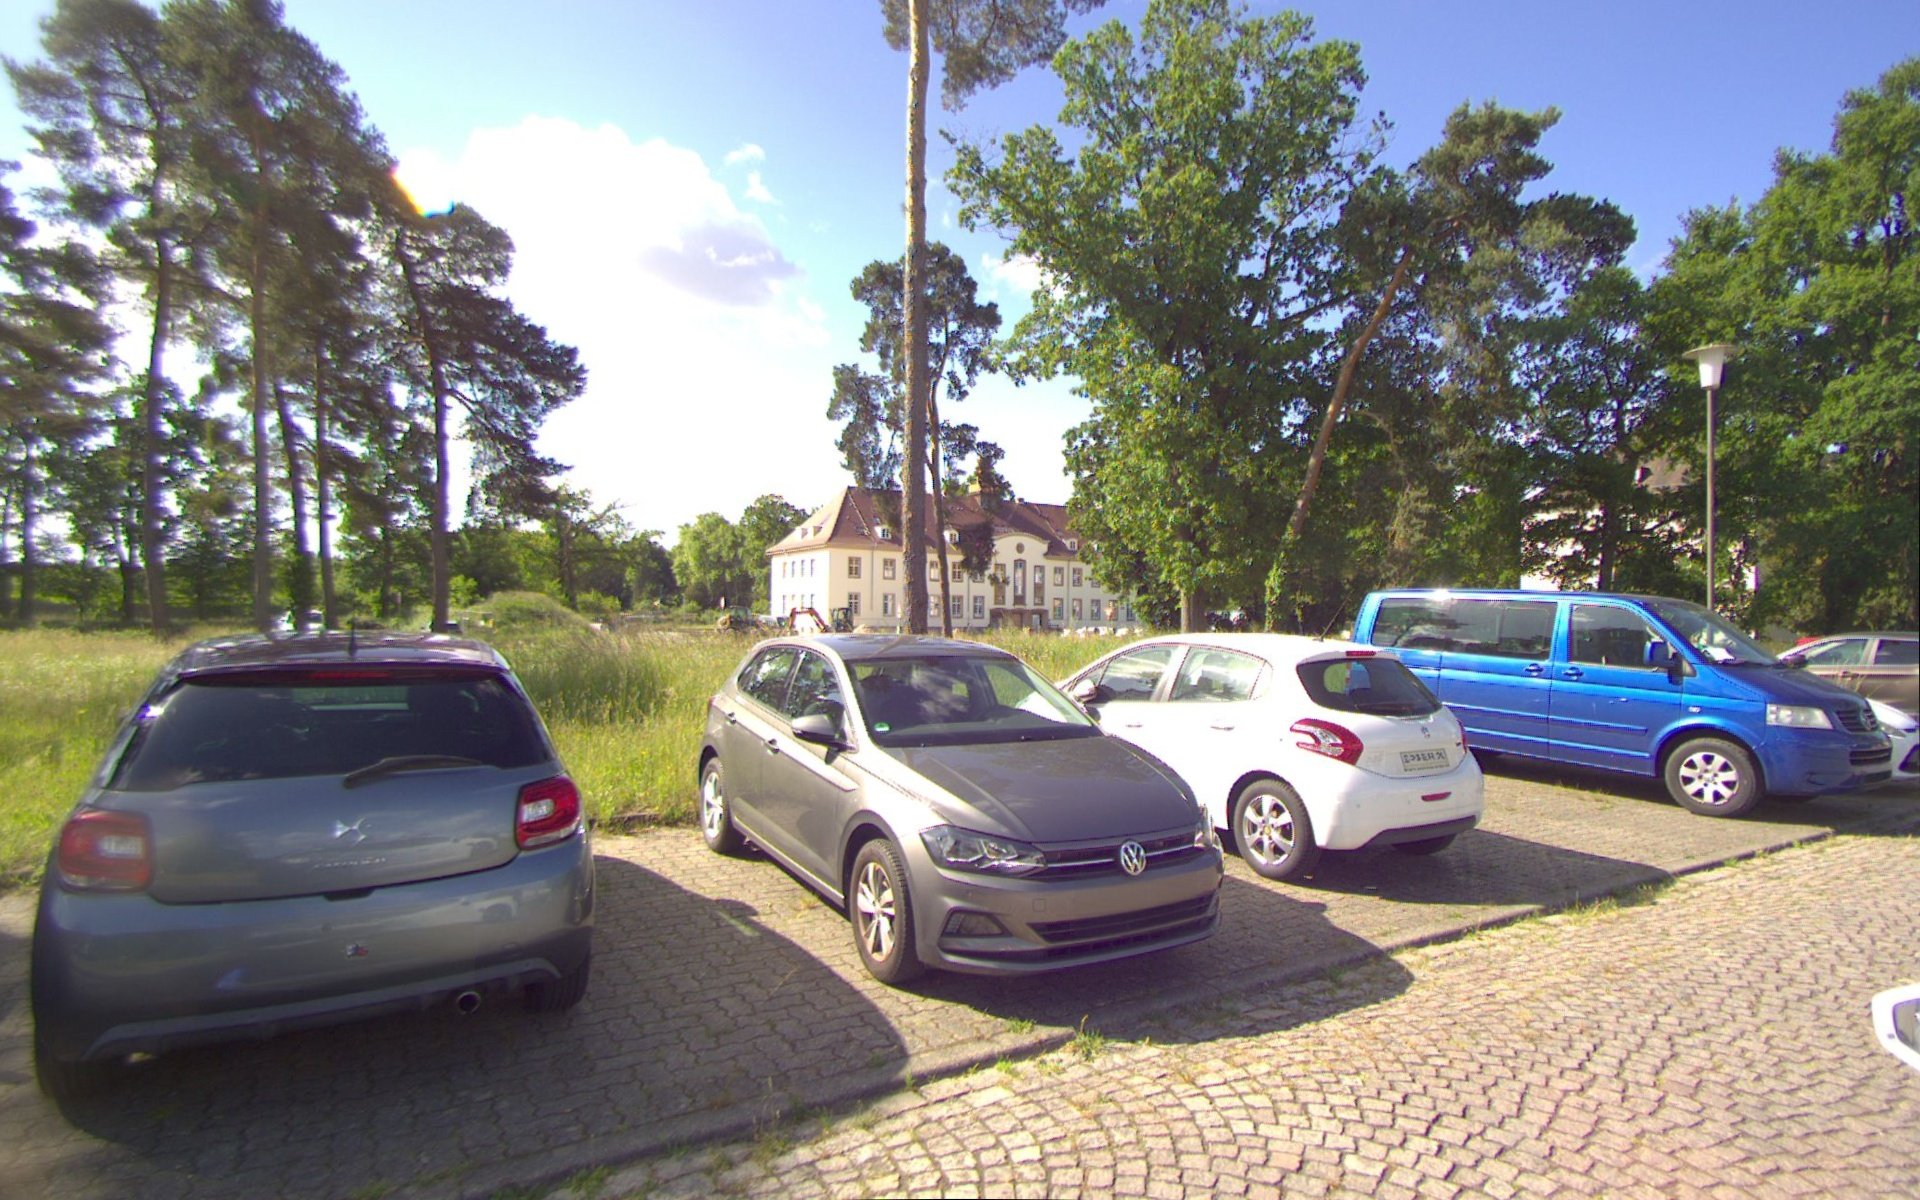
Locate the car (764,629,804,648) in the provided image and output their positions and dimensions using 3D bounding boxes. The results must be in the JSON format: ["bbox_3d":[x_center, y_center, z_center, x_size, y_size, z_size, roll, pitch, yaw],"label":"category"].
[{"bbox_3d":[-17.619,3.833,100.655,1.982,1.878,4.083,2,-2,-44],"label":"car"}]

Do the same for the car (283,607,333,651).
[{"bbox_3d":[-34.323,1.522,52.986,1.934,2.192,4.822,1,-2,-31],"label":"car"}]

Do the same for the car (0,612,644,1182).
[{"bbox_3d":[-2.948,0.858,4.883,1.801,1.471,4.056,2,-1,-30],"label":"car"}]

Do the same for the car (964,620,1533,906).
[{"bbox_3d":[1.899,0.964,7.886,1.803,1.495,4.173,1,0,-32],"label":"car"}]

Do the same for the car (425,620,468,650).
[{"bbox_3d":[-29.009,1.959,56.673,1.890,1.626,4.208,1,-2,-31],"label":"car"}]

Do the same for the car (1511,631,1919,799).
[{"bbox_3d":[8.753,1.168,11.642,1.666,1.459,3.791,1,0,-34],"label":"car"}]

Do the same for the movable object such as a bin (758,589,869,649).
[{"bbox_3d":[-9.781,1.319,67.747,3.865,3.780,6.772,-1,-2,34],"label":"movable object such as a bin"}]

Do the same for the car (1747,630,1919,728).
[{"bbox_3d":[16.008,1.326,16.961,1.847,1.468,3.900,1,0,-33],"label":"car"}]

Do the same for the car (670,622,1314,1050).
[{"bbox_3d":[-0.217,0.909,5.883,1.901,1.444,4.056,1,0,-30],"label":"car"}]

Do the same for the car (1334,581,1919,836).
[{"bbox_3d":[6.505,0.843,10.394,1.983,1.994,4.692,1,0,-32],"label":"car"}]

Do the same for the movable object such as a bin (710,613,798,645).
[{"bbox_3d":[-14.508,2.024,70.848,5.564,2.153,2.530,0,-2,14],"label":"movable object such as a bin"}]

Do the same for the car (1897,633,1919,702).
[{"bbox_3d":[22.386,1.487,20.922,1.822,1.480,3.900,1,0,-33],"label":"car"}]

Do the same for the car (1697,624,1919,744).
[{"bbox_3d":[13.889,1.228,15.248,1.953,1.589,3.930,0,1,-33],"label":"car"}]
